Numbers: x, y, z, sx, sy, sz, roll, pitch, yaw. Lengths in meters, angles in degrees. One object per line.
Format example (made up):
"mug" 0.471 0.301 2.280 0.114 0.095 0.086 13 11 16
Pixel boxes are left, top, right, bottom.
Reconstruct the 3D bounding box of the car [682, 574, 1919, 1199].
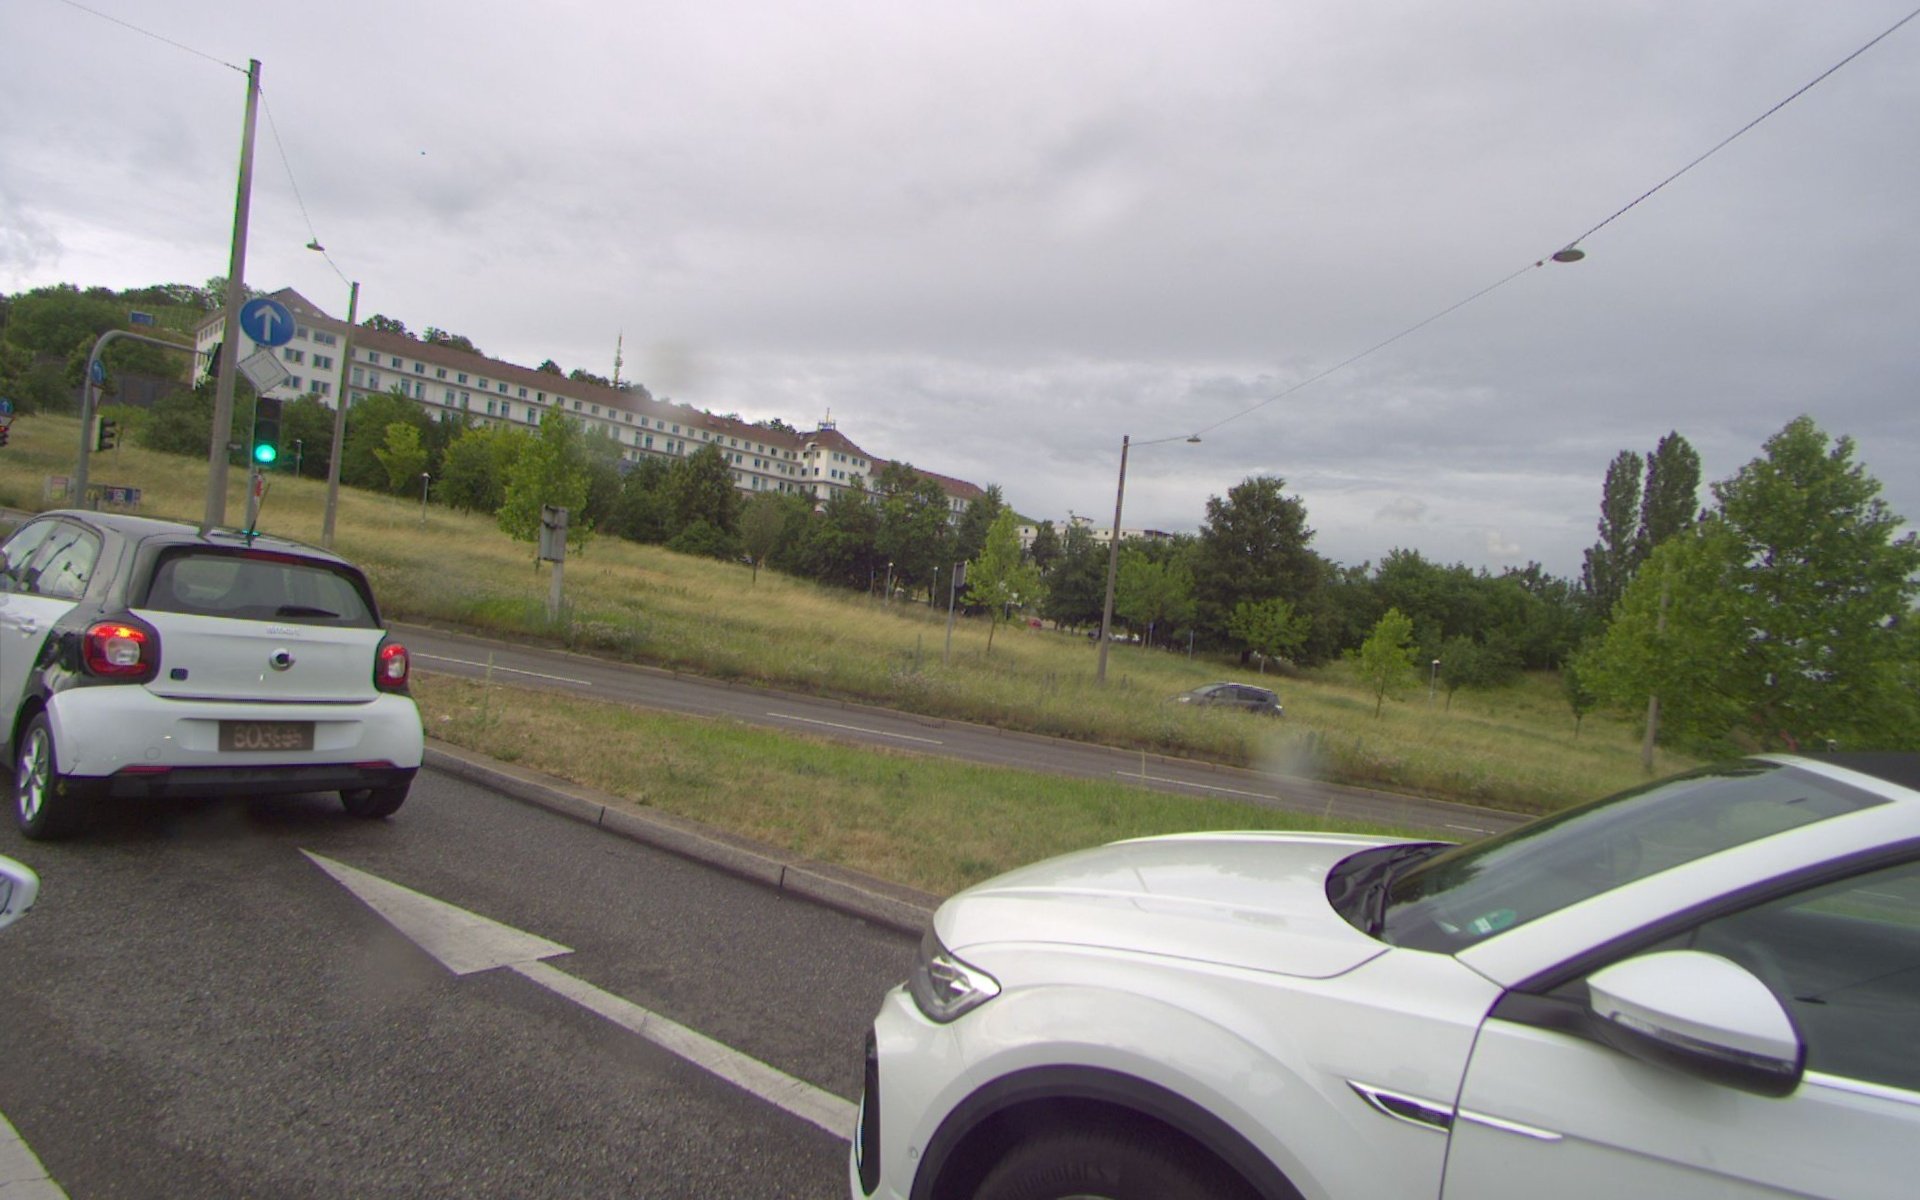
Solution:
"car" 1.677 0.988 1.829 4.158 1.571 1.717 6 -2 30

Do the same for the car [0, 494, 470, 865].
"car" -4.620 0.295 5.830 3.397 1.520 1.659 6 -2 36

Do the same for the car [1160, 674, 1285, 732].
"car" 9.611 3.764 37.047 3.890 1.554 2.000 7 -2 -5
